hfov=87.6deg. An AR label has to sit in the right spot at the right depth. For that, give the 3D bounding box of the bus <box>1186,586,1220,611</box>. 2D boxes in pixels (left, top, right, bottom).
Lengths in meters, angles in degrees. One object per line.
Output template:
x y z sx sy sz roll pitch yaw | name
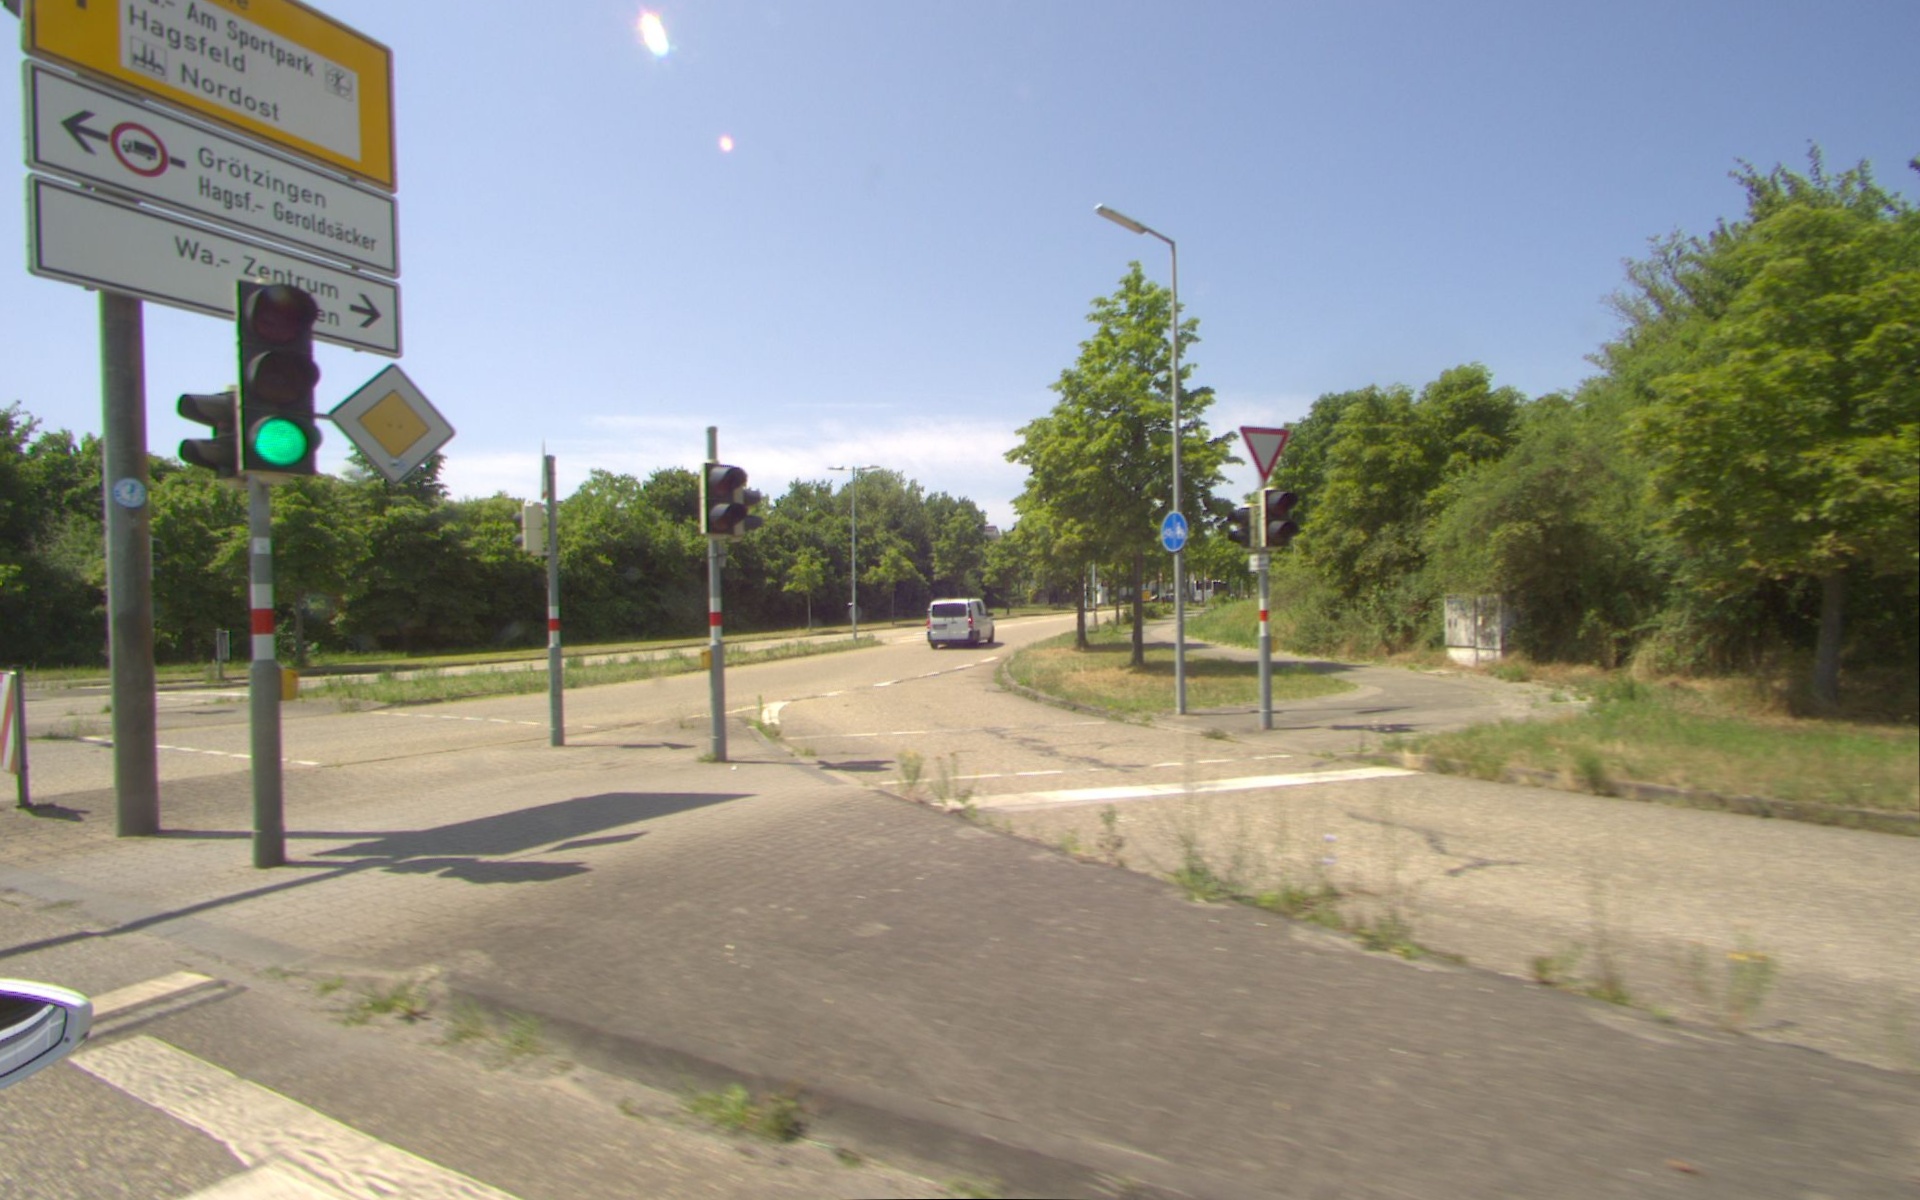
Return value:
32.429 -0.099 133.368 2.587 3.127 12.050 -1 -1 22 | bus

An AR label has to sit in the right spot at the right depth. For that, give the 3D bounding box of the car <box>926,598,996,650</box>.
0.103 0.881 39.545 1.831 1.843 4.903 0 1 11 | car
